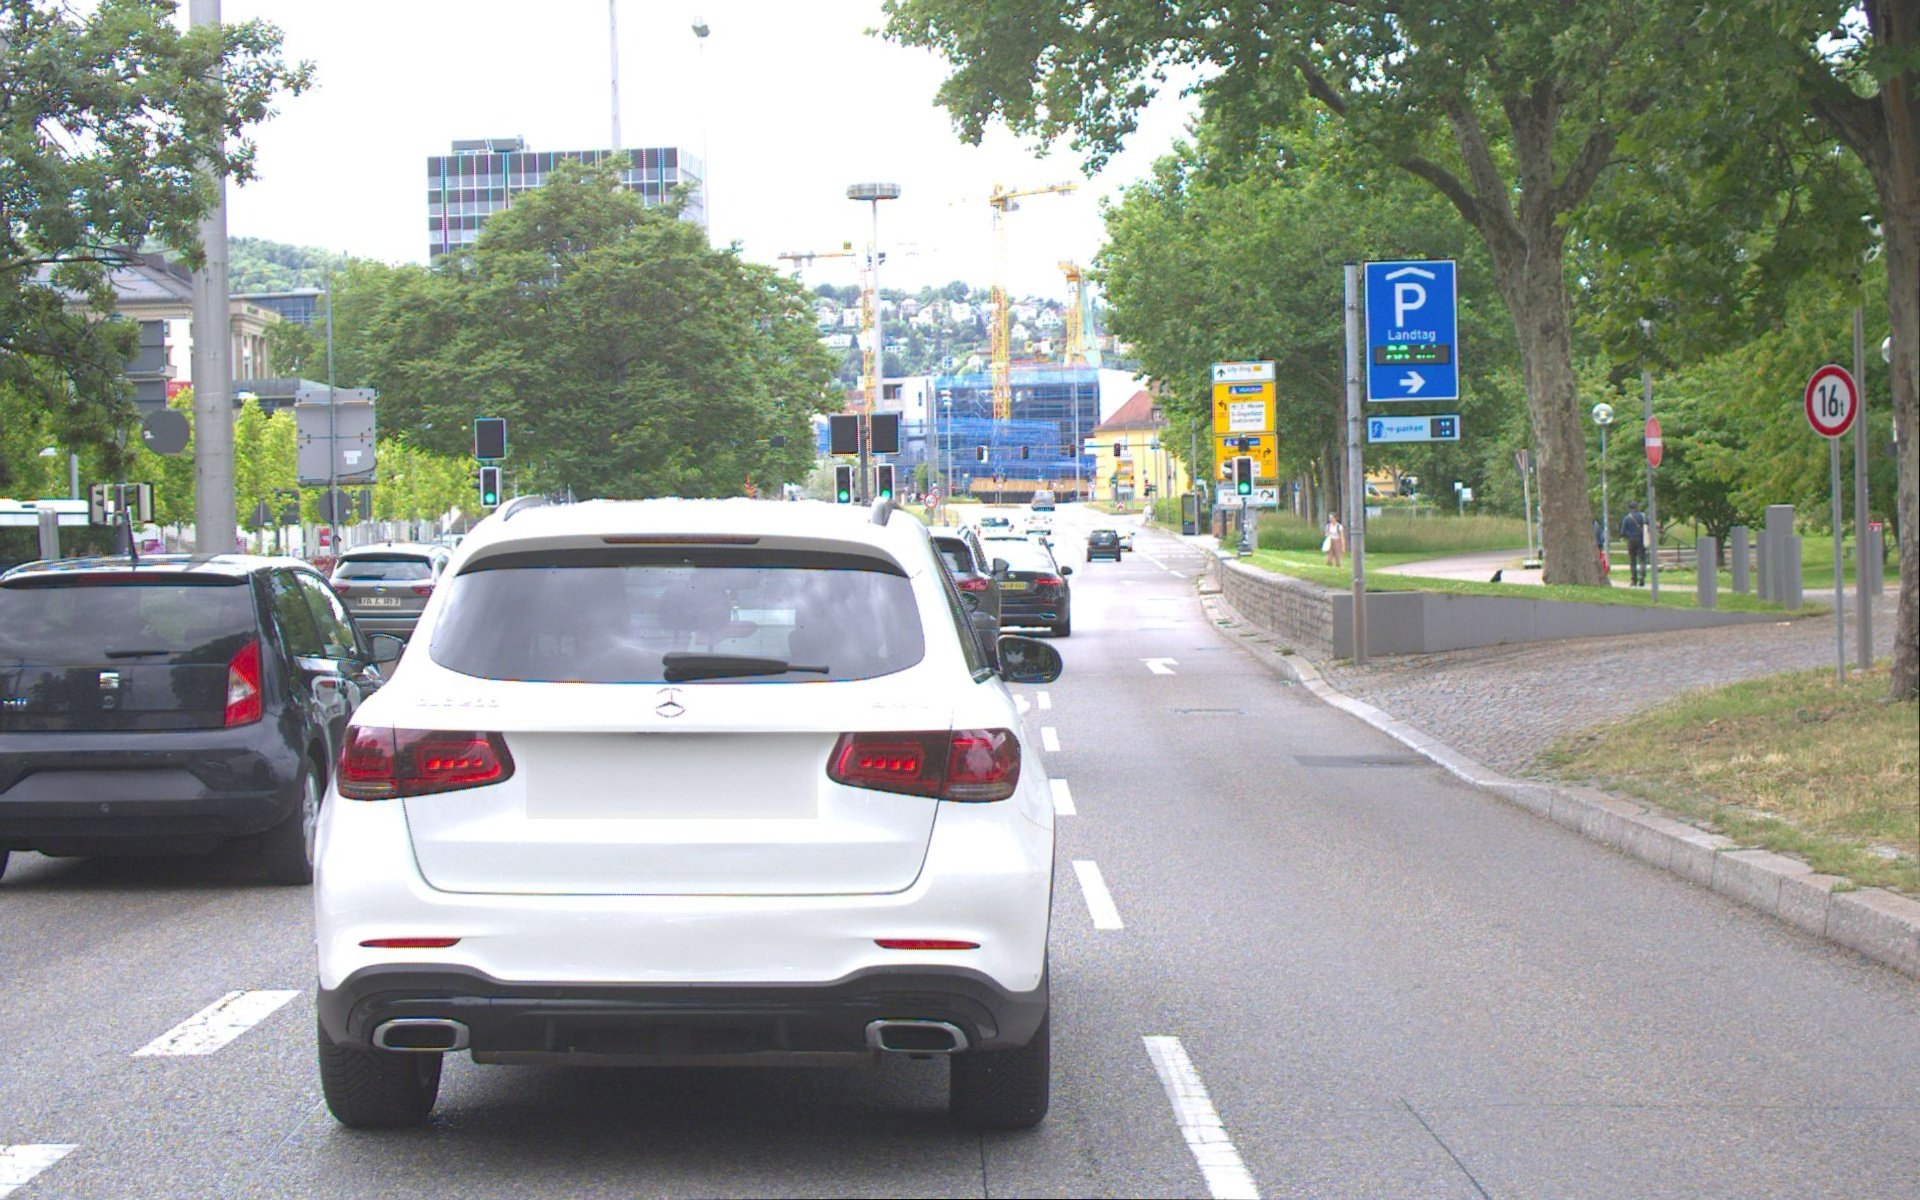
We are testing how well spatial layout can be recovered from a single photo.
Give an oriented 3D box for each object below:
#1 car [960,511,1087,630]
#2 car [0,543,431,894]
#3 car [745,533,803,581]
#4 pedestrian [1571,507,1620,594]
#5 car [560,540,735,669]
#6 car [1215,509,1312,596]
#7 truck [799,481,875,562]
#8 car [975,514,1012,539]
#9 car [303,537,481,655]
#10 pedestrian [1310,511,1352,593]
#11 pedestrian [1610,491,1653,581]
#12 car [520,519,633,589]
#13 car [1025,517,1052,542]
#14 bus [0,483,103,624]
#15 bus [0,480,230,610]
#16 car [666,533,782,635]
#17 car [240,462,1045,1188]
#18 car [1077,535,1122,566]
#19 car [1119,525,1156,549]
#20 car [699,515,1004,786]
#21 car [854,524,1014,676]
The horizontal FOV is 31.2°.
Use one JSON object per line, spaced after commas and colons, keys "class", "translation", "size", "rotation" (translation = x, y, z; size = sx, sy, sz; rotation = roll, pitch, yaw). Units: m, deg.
{"class": "car", "translation": [0.957, -0.483, 53.687], "size": [1.825, 1.746, 4.000], "rotation": [-1, 1, -1]}
{"class": "car", "translation": [-3.614, 0.475, 16.373], "size": [1.608, 1.468, 3.622], "rotation": [-1, 1, 0]}
{"class": "car", "translation": [-6.053, -1.410, 112.064], "size": [1.659, 1.508, 3.547], "rotation": [-1, 1, 1]}
{"class": "pedestrian", "translation": [11.880, -0.929, 64.252], "size": [0.660, 1.605, 0.641], "rotation": [-1, 1, -18]}
{"class": "car", "translation": [-3.631, 0.024, 40.532], "size": [1.797, 1.432, 4.021], "rotation": [0, 1, -2]}
{"class": "car", "translation": [7.131, -1.126, 81.205], "size": [1.993, 2.007, 4.000], "rotation": [0, 1, 1]}
{"class": "truck", "translation": [-4.450, -2.865, 125.581], "size": [2.621, 2.851, 7.079], "rotation": [0, 1, -1]}
{"class": "car", "translation": [1.825, -3.969, 186.841], "size": [1.947, 1.315, 4.017], "rotation": [0, 1, 1]}
{"class": "car", "translation": [-7.208, -0.068, 43.972], "size": [1.661, 1.431, 3.960], "rotation": [0, 1, -1]}
{"class": "pedestrian", "translation": [9.170, -1.187, 85.023], "size": [0.761, 2.007, 0.697], "rotation": [0, 1, 36]}
{"class": "pedestrian", "translation": [12.933, -1.232, 66.230], "size": [0.759, 1.719, 0.698], "rotation": [-1, 1, 8]}
{"class": "car", "translation": [-8.049, -0.994, 72.523], "size": [1.776, 1.415, 4.000], "rotation": [-1, 1, 2]}
{"class": "car", "translation": [5.419, -4.883, 237.213], "size": [1.758, 1.663, 4.168], "rotation": [-1, 1, 0]}
{"class": "bus", "translation": [-23.665, -1.039, 78.957], "size": [3.668, 3.194, 14.274], "rotation": [-1, 2, 3]}
{"class": "bus", "translation": [-23.217, -1.504, 93.085], "size": [3.667, 3.194, 14.274], "rotation": [-1, 1, 1]}
{"class": "car", "translation": [-3.920, -0.281, 57.556], "size": [1.851, 1.622, 4.907], "rotation": [0, 1, -3]}
{"class": "car", "translation": [-0.665, 0.476, 9.982], "size": [1.788, 1.619, 4.437], "rotation": [-1, 1, 2]}
{"class": "car", "translation": [6.424, -2.289, 158.721], "size": [1.947, 1.423, 4.017], "rotation": [0, 1, 1]}
{"class": "car", "translation": [9.900, -3.507, 191.826], "size": [1.947, 1.315, 4.017], "rotation": [0, 1, 1]}
{"class": "car", "translation": [-0.813, 0.309, 23.248], "size": [1.795, 1.603, 3.755], "rotation": [-3, 0, -5]}
{"class": "car", "translation": [-0.333, -0.037, 38.910], "size": [1.659, 1.633, 3.548], "rotation": [0, 1, -3]}
